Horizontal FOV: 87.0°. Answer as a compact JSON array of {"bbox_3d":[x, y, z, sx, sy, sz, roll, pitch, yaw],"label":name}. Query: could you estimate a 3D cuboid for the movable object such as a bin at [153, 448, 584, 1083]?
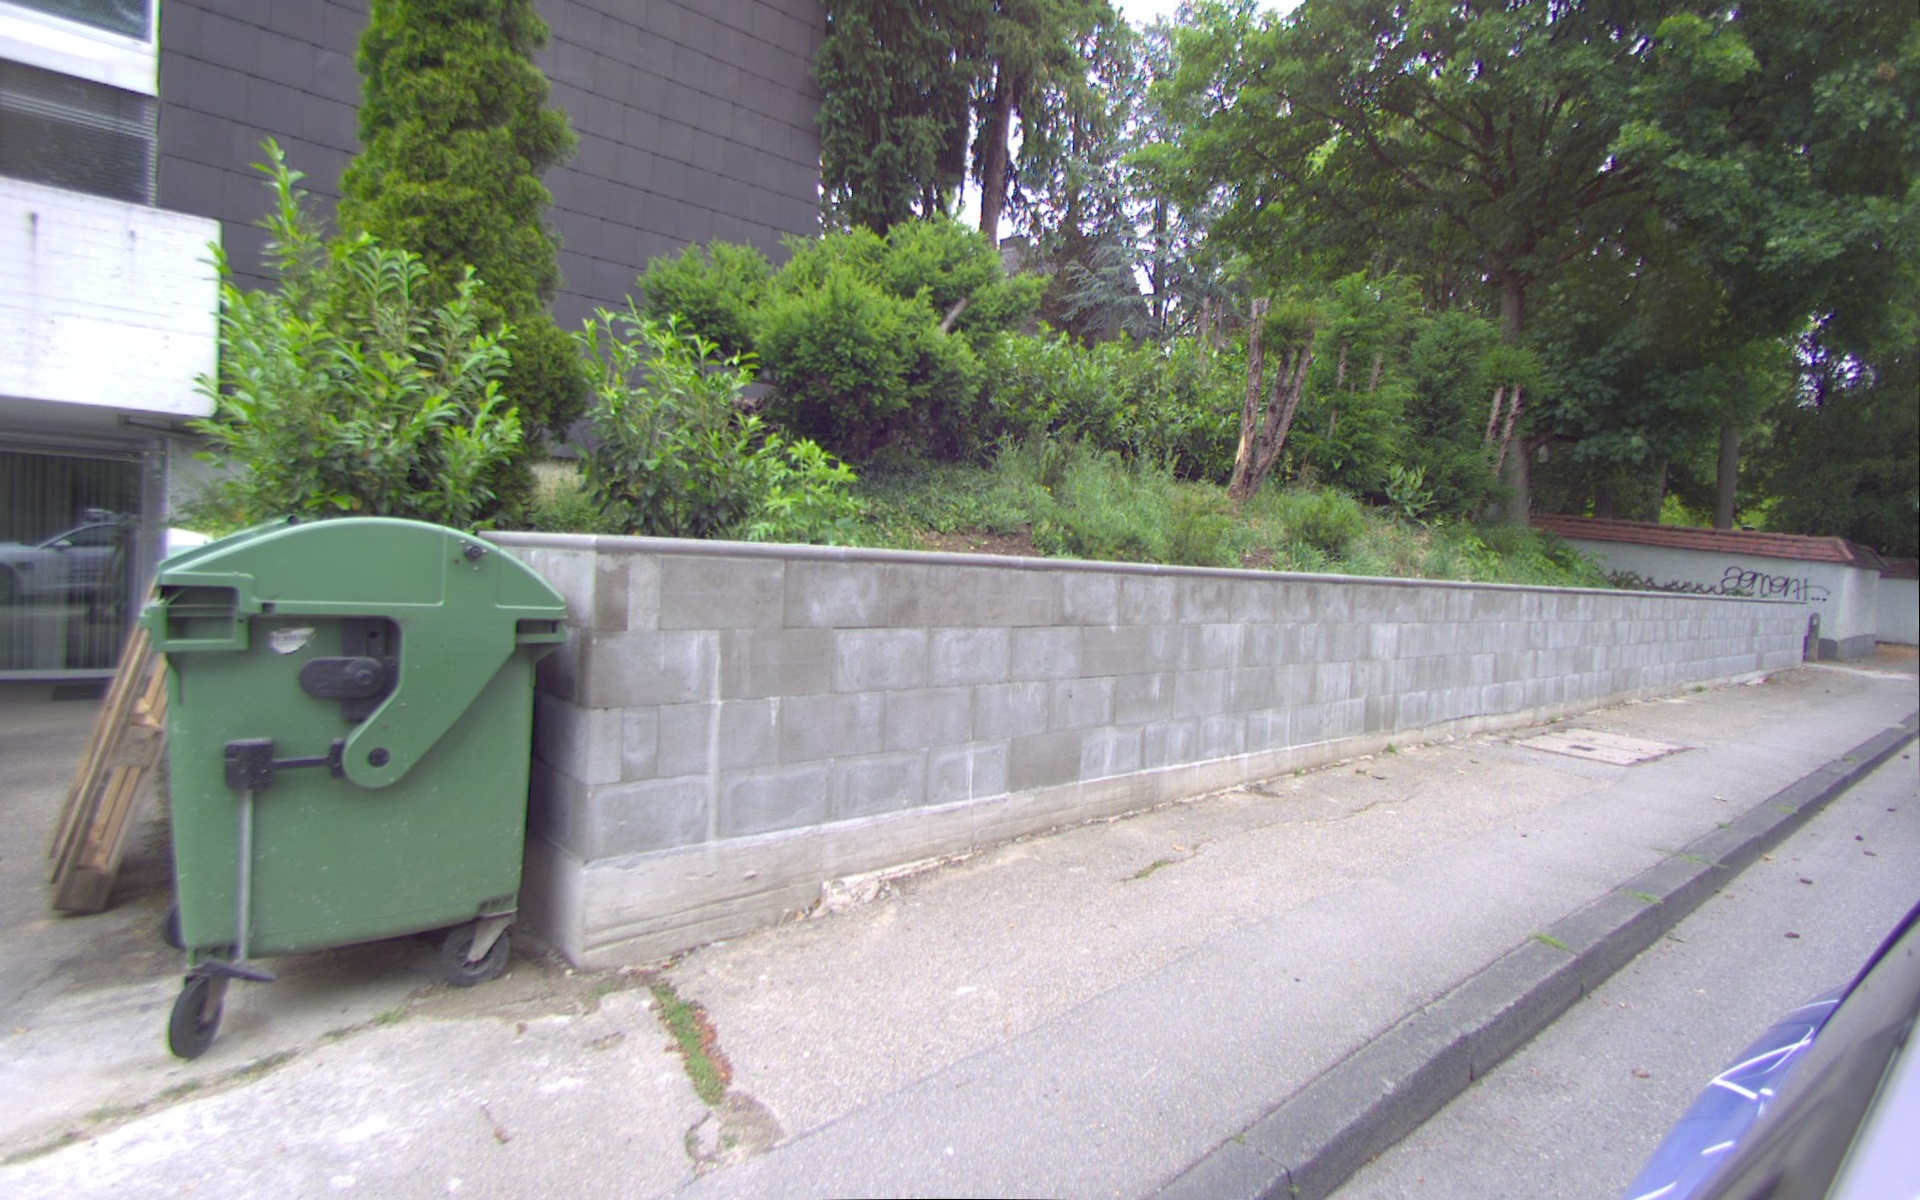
[{"bbox_3d":[-1.879,0.380,3.182,1.014,1.549,1.037,0,2,-39],"label":"movable object such as a bin"}]
